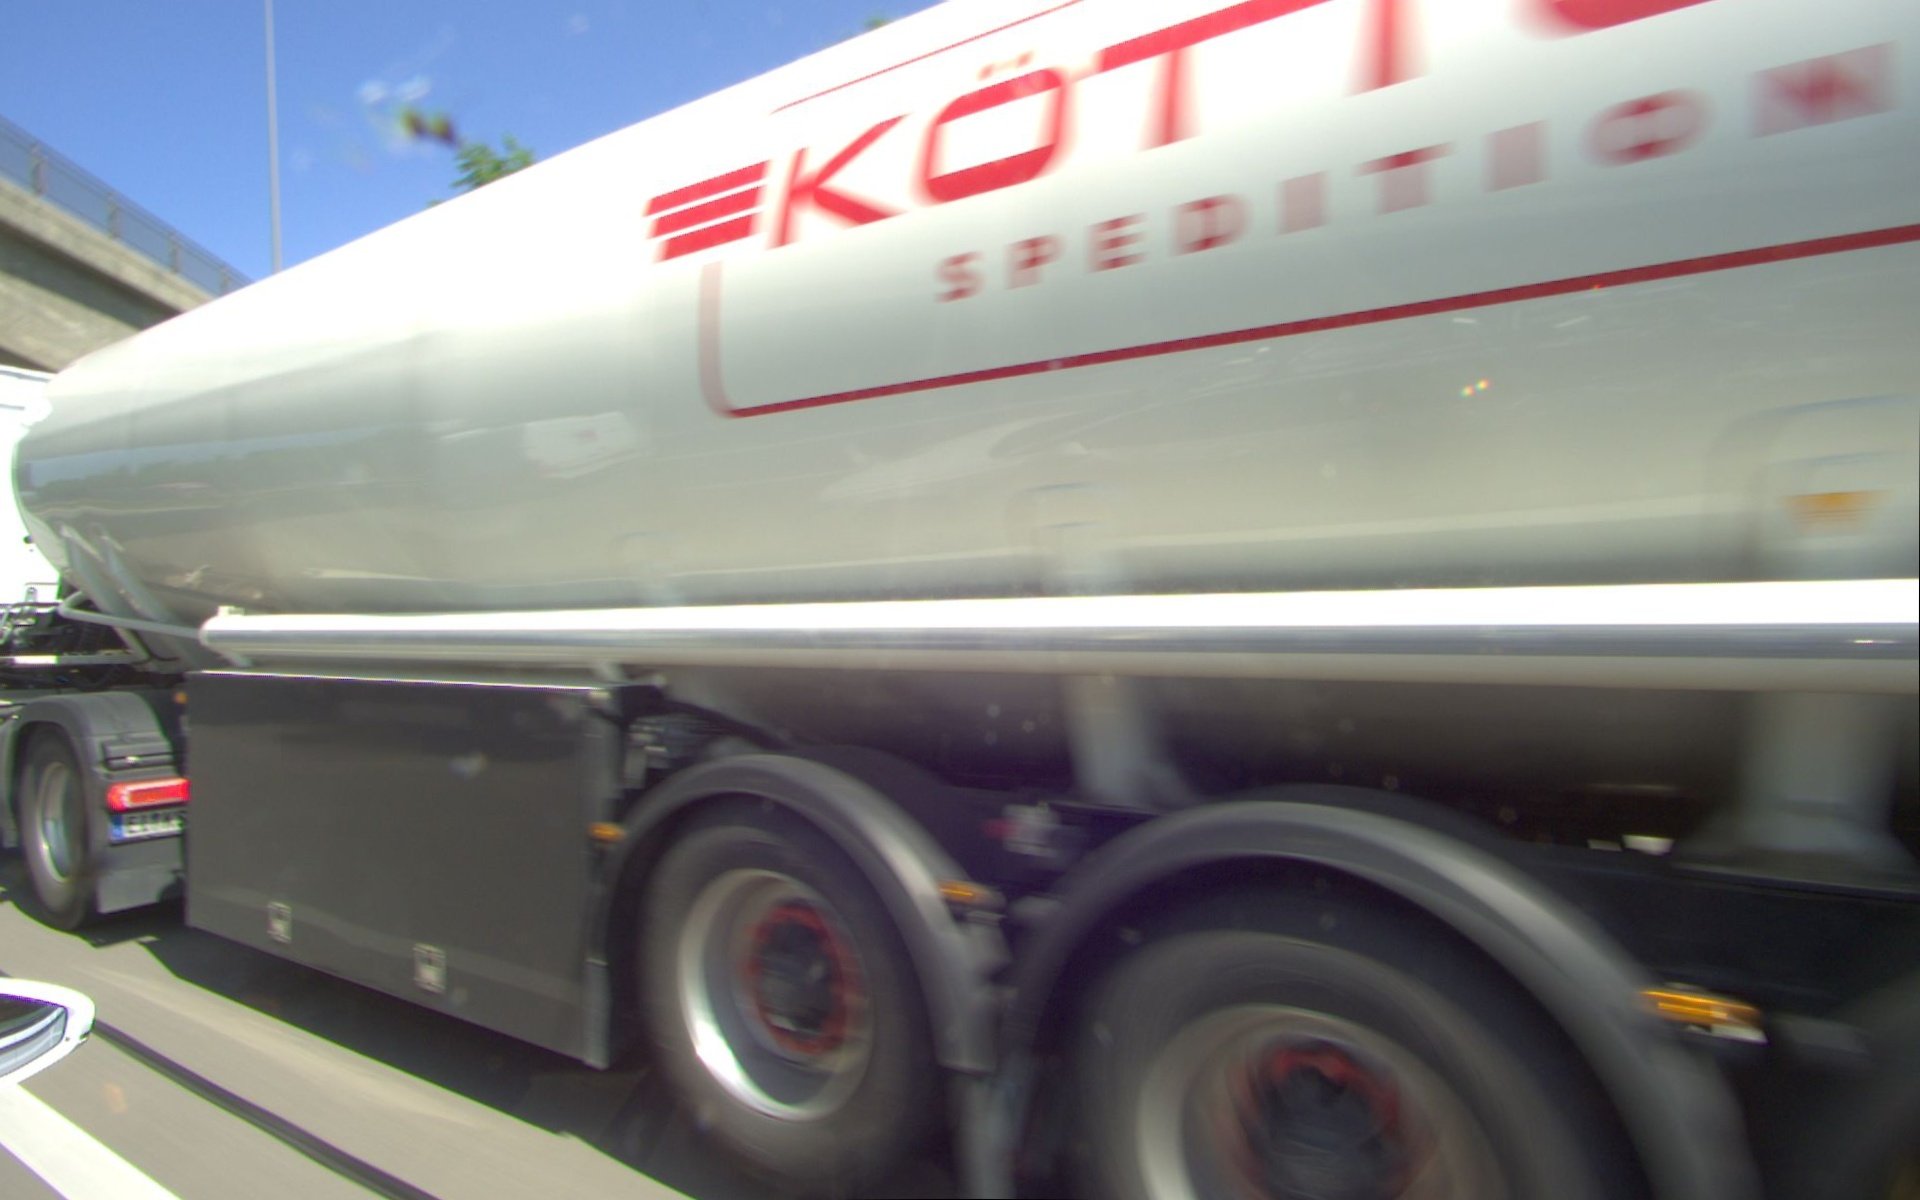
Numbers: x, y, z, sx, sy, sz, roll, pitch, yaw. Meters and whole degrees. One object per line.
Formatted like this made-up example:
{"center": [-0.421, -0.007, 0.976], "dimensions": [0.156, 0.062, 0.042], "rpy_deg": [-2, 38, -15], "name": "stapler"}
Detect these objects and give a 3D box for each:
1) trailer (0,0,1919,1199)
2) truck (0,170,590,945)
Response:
{"center": [-1.123, -0.193, 4.284], "dimensions": [10.991, 3.433, 2.644], "rpy_deg": [-1, -1, 32], "name": "trailer"}
{"center": [-5.838, -0.114, 7.273], "dimensions": [6.396, 3.418, 2.633], "rpy_deg": [-1, -1, 33], "name": "truck"}
